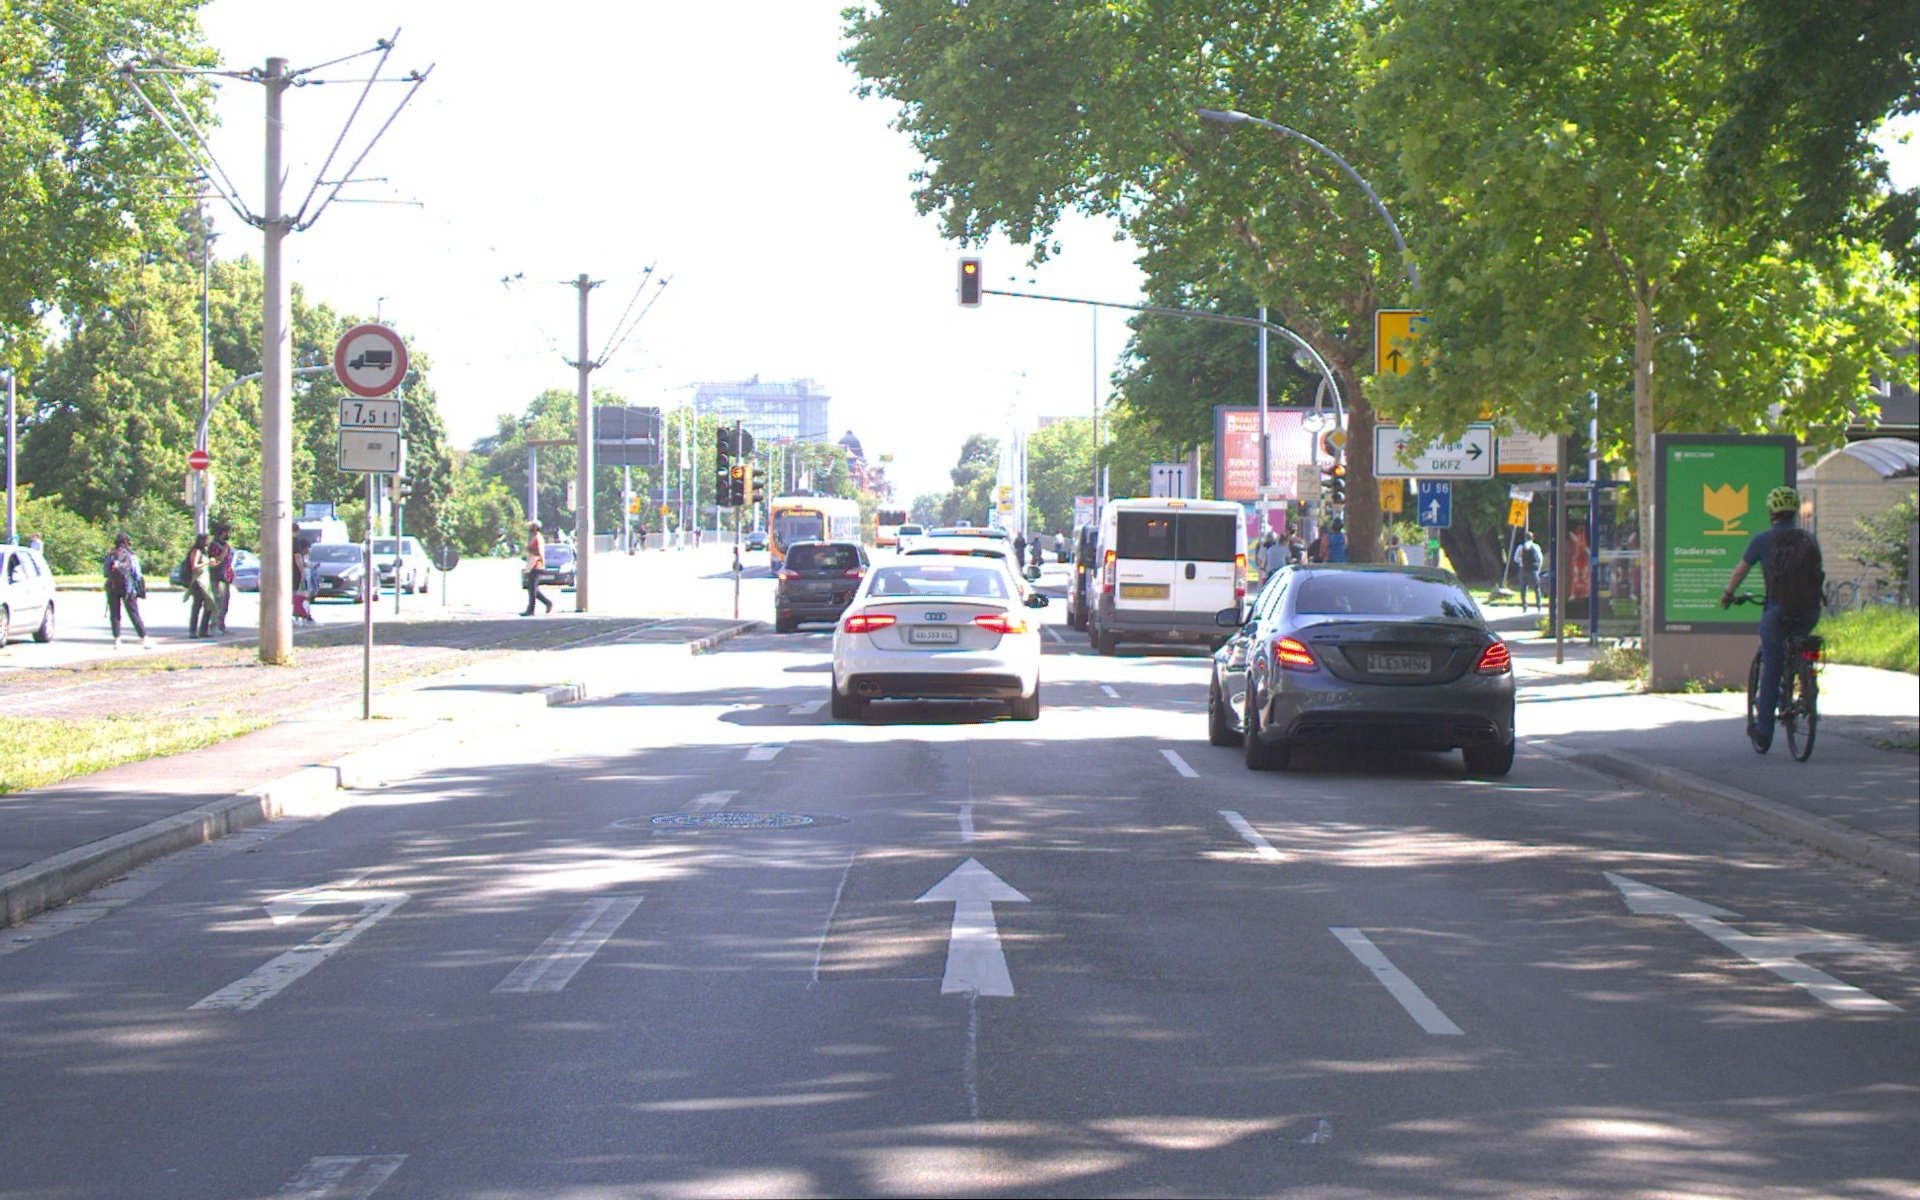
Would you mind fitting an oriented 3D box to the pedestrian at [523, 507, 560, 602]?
[{"bbox_3d":[-8.549,-0.929,70.241,0.624,1.911,0.690,1,1,1],"label":"pedestrian"}]

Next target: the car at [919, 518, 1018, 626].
[{"bbox_3d":[0.169,-0.539,63.240,1.729,1.895,4.000,1,1,0],"label":"car"}]

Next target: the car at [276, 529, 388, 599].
[{"bbox_3d":[-15.037,-0.877,82.488,1.871,1.603,4.000,1,1,1],"label":"car"}]

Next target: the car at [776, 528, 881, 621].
[{"bbox_3d":[-2.393,-0.488,63.247,1.729,1.625,4.000,1,1,0],"label":"car"}]

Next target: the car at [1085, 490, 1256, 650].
[{"bbox_3d":[3.016,-0.460,50.131,2.230,2.204,4.162,1,1,0],"label":"car"}]

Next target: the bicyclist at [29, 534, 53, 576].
[{"bbox_3d":[-28.354,-1.374,106.062,0.474,1.287,0.496,1,1,29],"label":"bicyclist"}]

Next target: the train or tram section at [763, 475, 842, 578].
[{"bbox_3d":[-6.285,-2.946,138.160,2.617,4.001,7.749,1,1,1],"label":"train or tram section"}]

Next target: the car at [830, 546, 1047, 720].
[{"bbox_3d":[-0.163,0.242,30.525,1.784,1.416,3.885,1,1,0],"label":"car"}]

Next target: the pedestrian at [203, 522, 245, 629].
[{"bbox_3d":[-11.641,-0.394,54.395,0.492,1.673,0.643,1,1,1],"label":"pedestrian"}]

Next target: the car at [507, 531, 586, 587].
[{"bbox_3d":[-13.191,-1.327,109.851,1.993,1.728,4.000,1,1,1],"label":"car"}]

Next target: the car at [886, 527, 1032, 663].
[{"bbox_3d":[0.002,-0.092,43.112,1.729,1.599,3.885,1,1,0],"label":"car"}]

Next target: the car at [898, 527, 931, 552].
[{"bbox_3d":[-2.968,-3.946,225.580,1.871,1.603,4.000,1,1,3],"label":"car"}]

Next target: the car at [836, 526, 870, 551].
[{"bbox_3d":[-7.014,-4.058,225.762,1.871,1.603,4.000,1,1,3],"label":"car"}]

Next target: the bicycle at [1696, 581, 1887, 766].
[{"bbox_3d":[5.611,0.470,23.321,0.714,1.144,2.178,-2,1,-1],"label":"bicycle"}]

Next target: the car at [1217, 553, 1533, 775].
[{"bbox_3d":[2.877,0.392,24.584,1.782,1.415,4.000,1,1,0],"label":"car"}]

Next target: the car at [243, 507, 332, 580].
[{"bbox_3d":[-22.317,-1.877,114.217,2.114,2.374,4.000,1,1,1],"label":"car"}]

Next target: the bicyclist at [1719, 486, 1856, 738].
[{"bbox_3d":[5.589,0.071,23.250,0.634,1.642,0.979,-2,1,0],"label":"bicyclist"}]

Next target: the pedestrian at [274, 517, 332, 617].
[{"bbox_3d":[-11.524,-0.584,60.342,0.775,1.728,0.754,1,1,9],"label":"pedestrian"}]

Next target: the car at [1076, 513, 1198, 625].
[{"bbox_3d":[3.266,-0.594,64.267,2.072,1.992,4.058,1,1,0],"label":"car"}]

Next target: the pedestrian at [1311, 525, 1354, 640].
[{"bbox_3d":[6.390,-0.306,58.950,0.635,1.939,0.719,1,1,1],"label":"pedestrian"}]

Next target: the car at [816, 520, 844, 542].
[{"bbox_3d":[-9.768,-5.162,258.034,1.993,1.635,4.000,1,1,-1],"label":"car"}]

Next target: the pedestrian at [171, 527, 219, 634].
[{"bbox_3d":[-11.864,-0.306,53.297,0.593,1.641,0.554,1,1,1],"label":"pedestrian"}]

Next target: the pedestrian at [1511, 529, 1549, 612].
[{"bbox_3d":[12.432,-0.643,74.983,0.778,1.782,0.764,1,1,9],"label":"pedestrian"}]

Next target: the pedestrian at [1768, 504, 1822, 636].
[{"bbox_3d":[12.061,-0.433,49.664,0.613,1.890,0.597,0,1,-2],"label":"pedestrian"}]

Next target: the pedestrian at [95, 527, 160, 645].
[{"bbox_3d":[-11.565,-0.200,47.773,0.757,1.617,0.595,0,1,-25],"label":"pedestrian"}]

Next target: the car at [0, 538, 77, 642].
[{"bbox_3d":[-14.621,-0.180,51.071,1.796,1.483,4.385,1,1,1],"label":"car"}]

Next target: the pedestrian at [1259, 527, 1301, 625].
[{"bbox_3d":[5.615,-0.430,60.356,0.602,1.689,0.953,-2,1,1],"label":"pedestrian"}]

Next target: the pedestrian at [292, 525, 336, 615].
[{"bbox_3d":[-11.466,-0.537,61.055,0.537,1.592,0.577,1,1,20],"label":"pedestrian"}]

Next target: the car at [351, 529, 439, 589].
[{"bbox_3d":[-15.767,-1.162,96.118,1.764,1.603,3.860,1,1,1],"label":"car"}]
